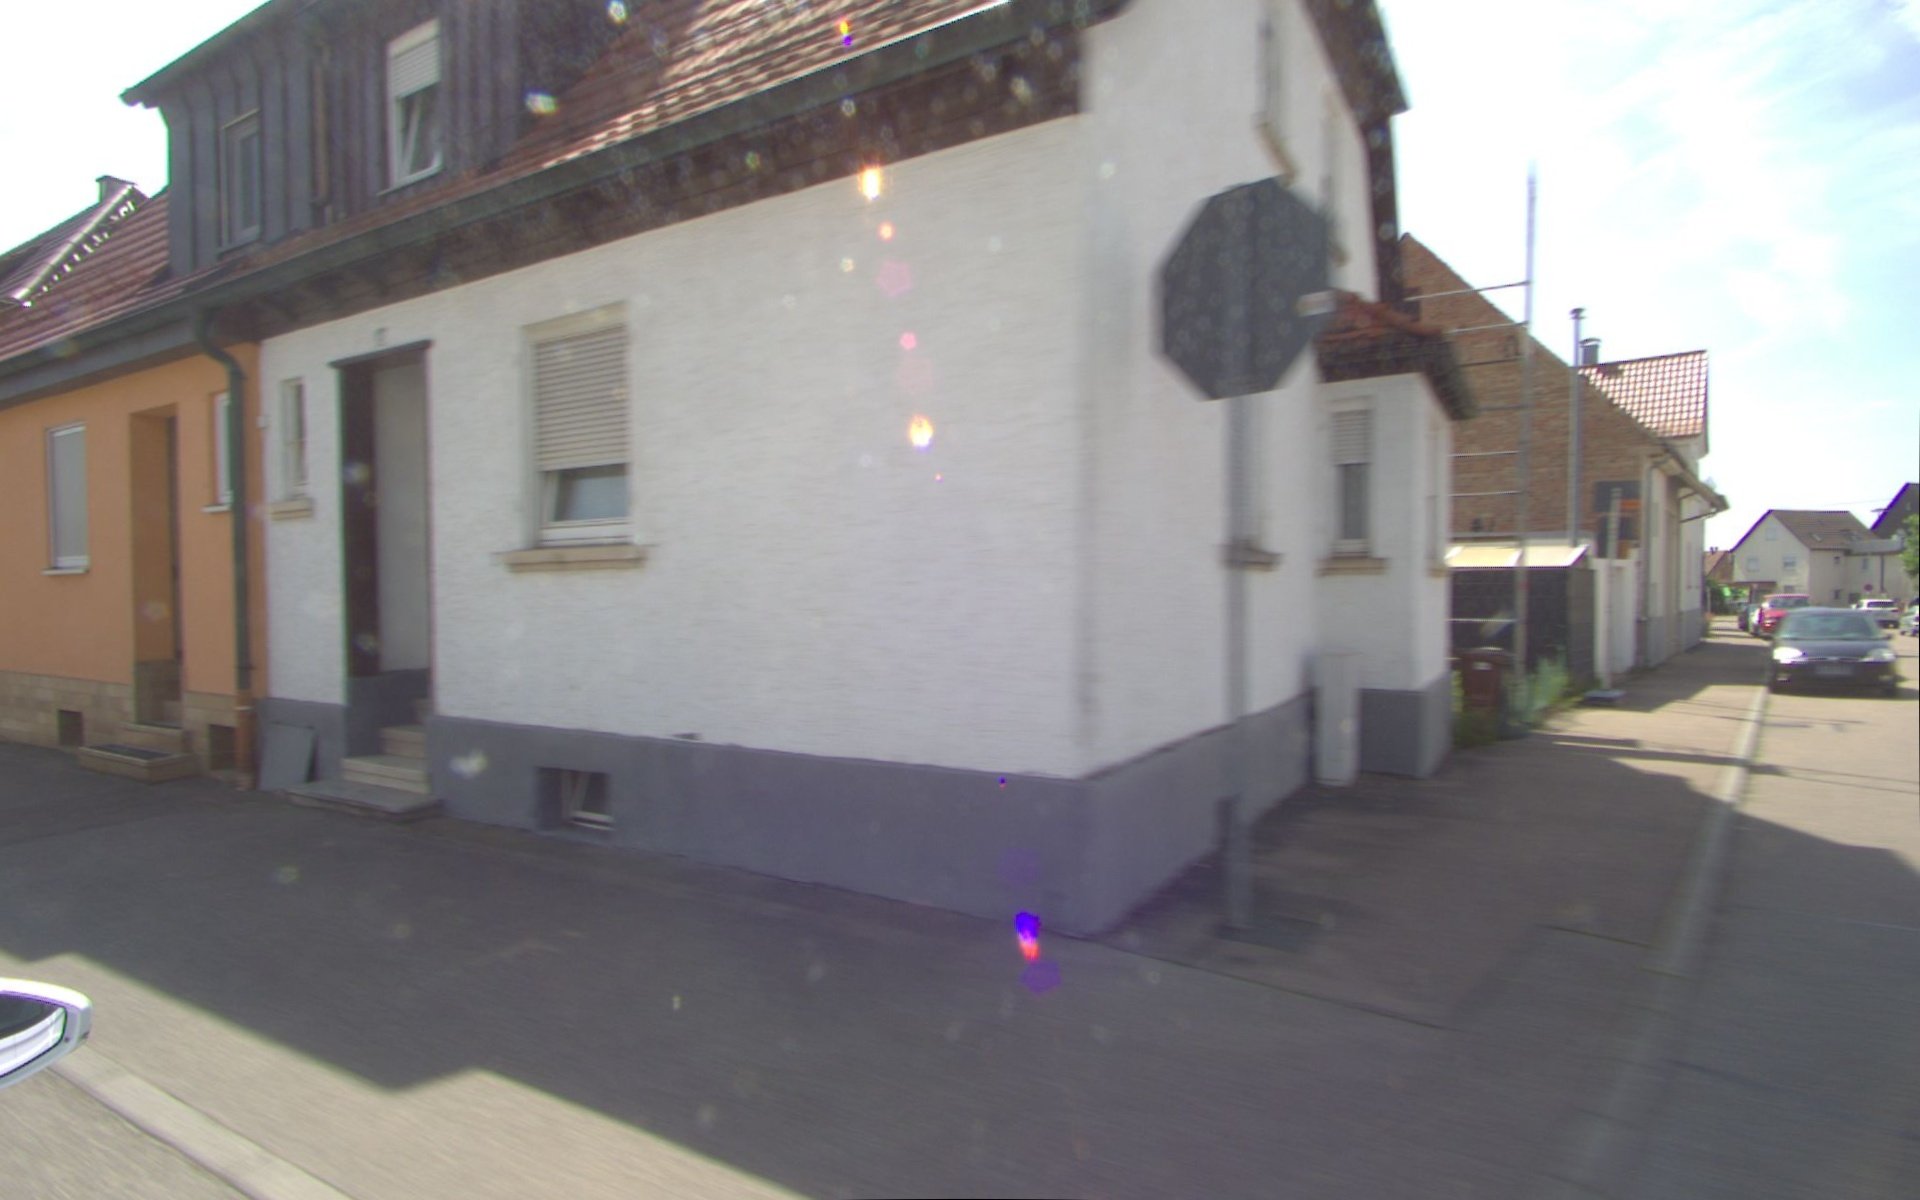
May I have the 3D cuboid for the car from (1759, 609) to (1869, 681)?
[{"bbox_3d":[18.621,0.906,21.790,1.684,1.409,3.966,0,0,42],"label":"car"}]

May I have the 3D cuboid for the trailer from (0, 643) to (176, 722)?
[{"bbox_3d":[-12.075,1.076,13.550,1.218,0.911,2.142,0,0,1],"label":"trailer"}]

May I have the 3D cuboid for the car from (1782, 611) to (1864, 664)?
[{"bbox_3d":[24.951,1.035,28.910,1.684,1.409,3.966,0,0,42],"label":"car"}]

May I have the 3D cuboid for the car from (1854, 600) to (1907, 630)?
[{"bbox_3d":[55.831,0.907,60.790,1.822,1.770,3.975,0,0,35],"label":"car"}]

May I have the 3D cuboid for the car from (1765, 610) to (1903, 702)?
[{"bbox_3d":[15.455,0.895,17.704,1.684,1.409,3.966,0,0,42],"label":"car"}]

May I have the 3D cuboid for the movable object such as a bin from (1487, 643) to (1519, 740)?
[{"bbox_3d":[5.894,0.981,10.867,0.285,1.005,0.584,-1,-1,29],"label":"movable object such as a bin"}]

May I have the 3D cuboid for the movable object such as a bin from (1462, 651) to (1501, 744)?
[{"bbox_3d":[5.512,1.025,10.579,0.355,0.958,0.227,-1,0,28],"label":"movable object such as a bin"}]

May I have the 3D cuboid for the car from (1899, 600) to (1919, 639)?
[{"bbox_3d":[45.905,0.893,47.219,1.822,1.770,3.975,0,0,35],"label":"car"}]

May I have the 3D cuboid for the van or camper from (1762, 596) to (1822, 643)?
[{"bbox_3d":[35.810,0.806,43.180,1.852,1.902,4.369,0,0,38],"label":"van or camper"}]
